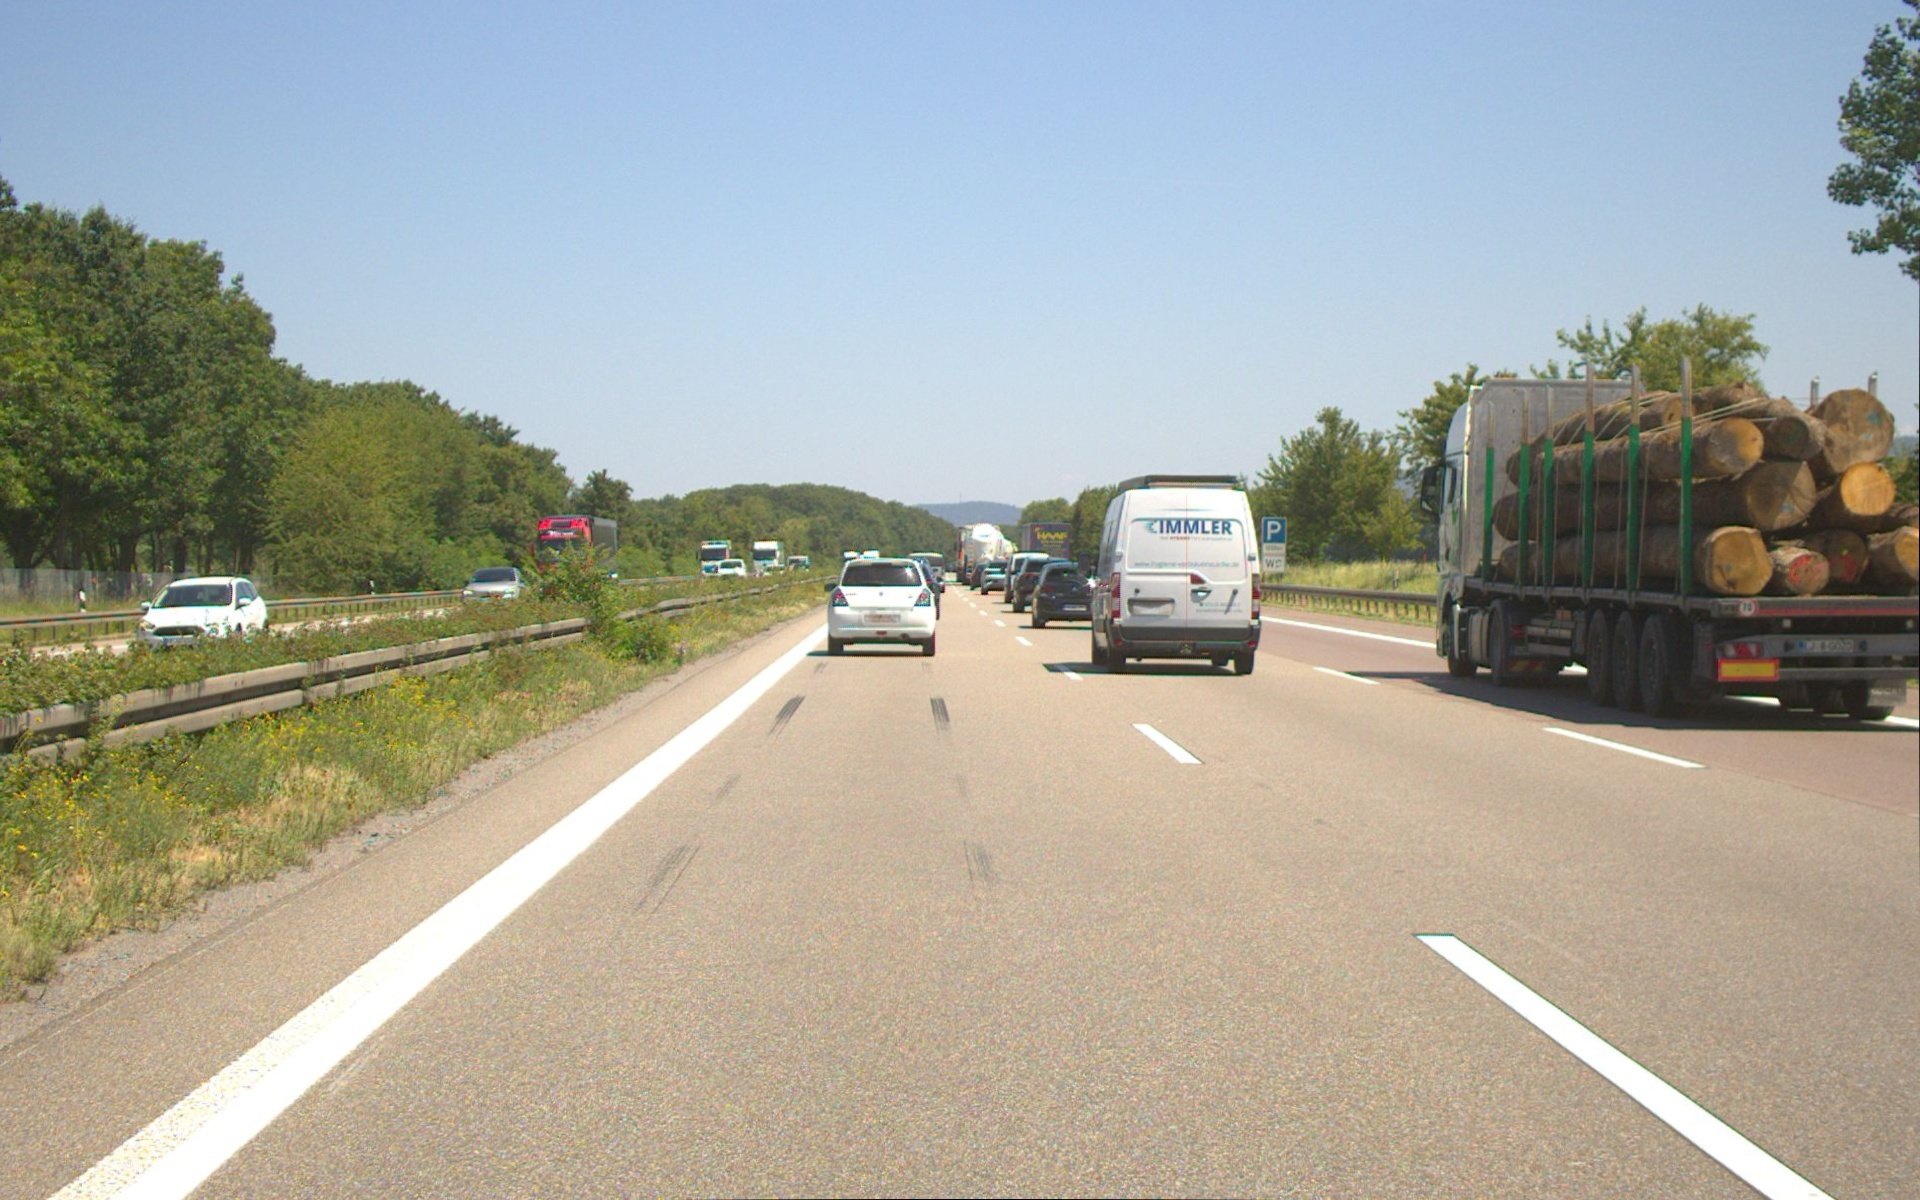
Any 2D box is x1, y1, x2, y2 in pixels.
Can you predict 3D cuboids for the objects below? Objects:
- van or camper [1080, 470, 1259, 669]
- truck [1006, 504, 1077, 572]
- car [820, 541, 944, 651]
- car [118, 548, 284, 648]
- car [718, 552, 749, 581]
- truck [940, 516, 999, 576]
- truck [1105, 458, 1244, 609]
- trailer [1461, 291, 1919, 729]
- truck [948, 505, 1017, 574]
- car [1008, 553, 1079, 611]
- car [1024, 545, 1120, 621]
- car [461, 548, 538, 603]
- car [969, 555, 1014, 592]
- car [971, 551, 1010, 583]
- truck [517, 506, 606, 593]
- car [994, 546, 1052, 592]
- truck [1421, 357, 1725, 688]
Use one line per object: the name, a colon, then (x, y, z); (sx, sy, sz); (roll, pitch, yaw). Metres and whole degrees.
van or camper: (2.875, -0.436, 48.393); (2.058, 2.613, 5.985); (0, 1, -1)
truck: (5.313, -4.053, 227.497); (3.257, 4.194, 16.845); (1, 1, -3)
car: (-1.269, -0.085, 54.658); (1.857, 1.646, 4.000); (2, 1, -2)
car: (-13.823, -0.060, 62.858); (1.993, 1.634, 4.859); (-4, 1, -2)
car: (-15.710, -2.312, 238.503); (1.995, 1.906, 5.212); (-2, 1, -2)
truck: (0.620, -3.973, 253.964); (3.257, 4.194, 16.845); (1, 1, -3)
truck: (6.457, -1.989, 106.314); (3.079, 4.194, 16.844); (2, 1, 0)
trailer: (7.974, -0.909, 38.027); (2.653, 3.945, 13.637); (1, 1, -1)
truck: (1.360, -3.824, 220.772); (3.257, 4.194, 16.845); (1, 1, -3)
car: (2.464, -0.546, 102.111); (1.857, 1.646, 4.000); (1, 1, -2)
car: (2.507, -0.394, 77.819); (1.857, 1.646, 4.000); (1, 1, -2)
car: (-14.900, -0.808, 111.524); (1.846, 1.676, 4.815); (-2, 1, -1)
car: (1.411, -1.241, 156.947); (1.857, 1.646, 4.000); (1, 1, -2)
car: (1.583, -1.752, 181.547); (1.857, 1.646, 4.000); (1, 1, -2)
truck: (-19.049, -2.419, 164.567); (3.439, 3.917, 6.221); (-2, 1, -1)
car: (2.268, -1.130, 124.914); (1.857, 1.646, 4.000); (1, 1, -2)
truck: (7.886, -0.992, 45.059); (2.669, 3.981, 6.636); (1, 1, -1)
